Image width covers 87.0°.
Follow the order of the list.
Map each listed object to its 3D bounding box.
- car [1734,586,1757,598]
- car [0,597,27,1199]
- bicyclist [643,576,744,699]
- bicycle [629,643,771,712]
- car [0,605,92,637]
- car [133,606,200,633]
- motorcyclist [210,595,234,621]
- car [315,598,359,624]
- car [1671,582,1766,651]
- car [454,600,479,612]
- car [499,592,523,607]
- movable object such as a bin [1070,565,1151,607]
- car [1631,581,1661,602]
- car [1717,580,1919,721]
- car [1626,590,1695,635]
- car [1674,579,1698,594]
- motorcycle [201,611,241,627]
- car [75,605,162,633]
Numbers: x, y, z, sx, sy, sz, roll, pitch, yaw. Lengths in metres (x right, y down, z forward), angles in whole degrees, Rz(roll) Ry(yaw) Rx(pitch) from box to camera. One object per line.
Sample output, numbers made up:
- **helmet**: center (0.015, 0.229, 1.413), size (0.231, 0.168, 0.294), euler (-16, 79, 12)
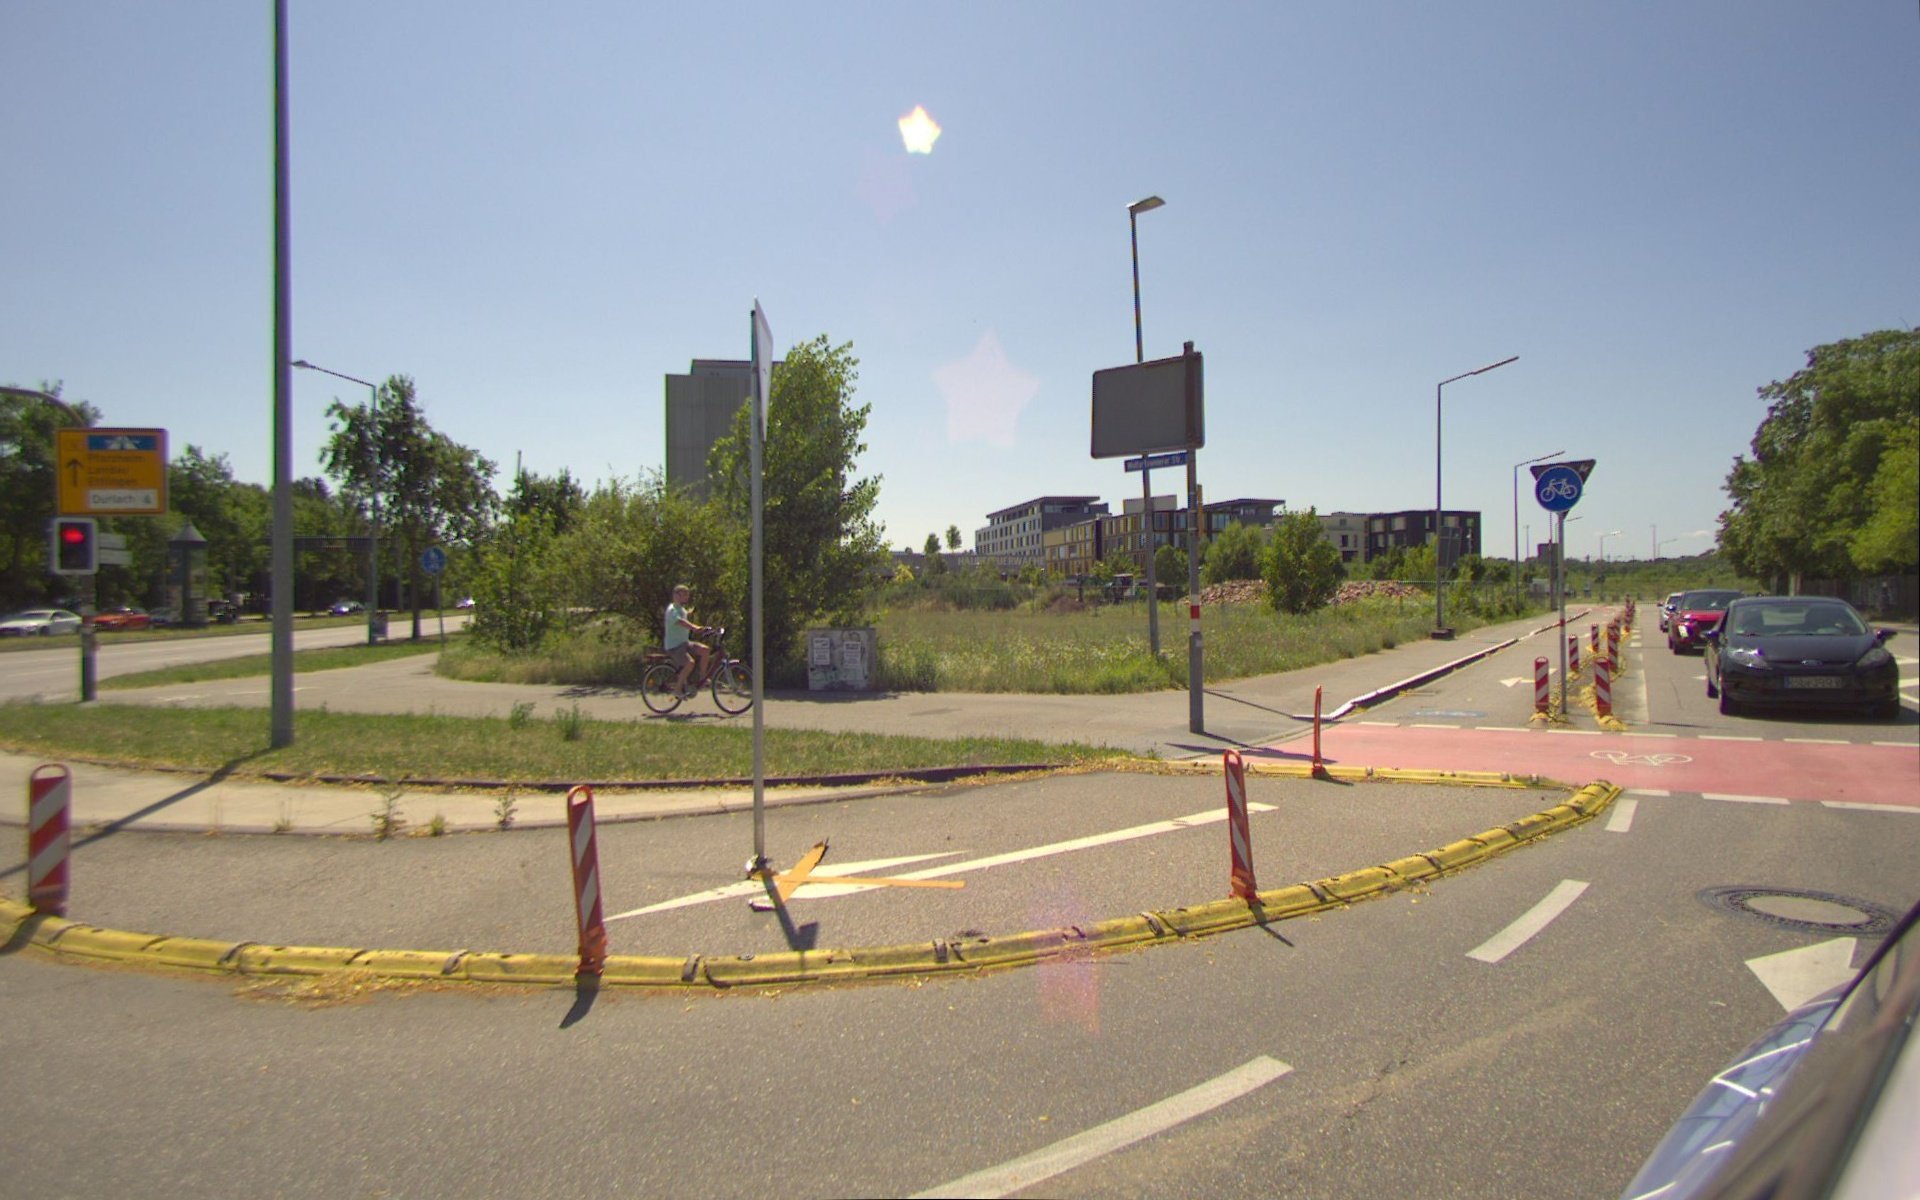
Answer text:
- **car**: center (100.499, -1.000, 129.514), size (1.704, 1.482, 3.804), euler (1, 1, 29)
- **car**: center (-4.025, 0.730, 1.400), size (3.927, 1.459, 1.801), euler (0, -1, 3)
- **bicyclist**: center (-3.722, 0.511, 14.178), size (1.146, 1.661, 0.745), euler (0, 0, 16)
- **bicycle**: center (-3.613, 1.070, 14.061), size (1.849, 0.890, 0.626), euler (-1, 0, 16)
- **car**: center (-44.081, 0.985, 48.522), size (1.826, 1.440, 4.416), euler (-1, 0, -12)
- **car**: center (-47.040, 1.159, 60.055), size (1.685, 1.493, 3.804), euler (-2, 0, -14)
- **motorcyclist**: center (-47.935, 0.528, 65.753), size (0.890, 1.606, 1.012), euler (-2, -1, -10)
- **car**: center (-52.831, 0.943, 85.878), size (1.958, 2.039, 4.007), euler (-2, 0, -14)
- **car**: center (18.449, 0.344, 24.750), size (1.710, 1.547, 4.159), euler (0, 0, 35)
- **car**: center (-60.362, 0.711, 123.882), size (1.935, 1.507, 4.007), euler (-1, 0, -13)
- **car**: center (-55.202, -0.082, 124.514), size (1.769, 1.713, 4.149), euler (-2, 0, -12)
- **movable object such as a bin**: center (12.323, -1.210, 82.314), size (2.803, 3.189, 7.490), euler (-3, 0, 42)
- **car**: center (52.448, -0.676, 77.406), size (1.747, 1.564, 3.651), euler (0, 0, 32)
- **car**: center (10.813, 0.527, 12.971), size (1.623, 1.527, 3.771), euler (0, 0, 35)
- **car**: center (24.587, 0.423, 35.594), size (1.851, 1.446, 3.951), euler (-2, -1, 34)
- **car**: center (74.670, -1.368, 104.094), size (1.747, 1.564, 3.651), euler (0, 0, 32)
- **motorcycle**: center (-47.880, 1.247, 65.601), size (0.880, 0.964, 2.820), euler (-2, 0, -10)
- **car**: center (-45.771, 1.014, 55.154), size (1.826, 1.440, 4.416), euler (-1, 0, -12)
